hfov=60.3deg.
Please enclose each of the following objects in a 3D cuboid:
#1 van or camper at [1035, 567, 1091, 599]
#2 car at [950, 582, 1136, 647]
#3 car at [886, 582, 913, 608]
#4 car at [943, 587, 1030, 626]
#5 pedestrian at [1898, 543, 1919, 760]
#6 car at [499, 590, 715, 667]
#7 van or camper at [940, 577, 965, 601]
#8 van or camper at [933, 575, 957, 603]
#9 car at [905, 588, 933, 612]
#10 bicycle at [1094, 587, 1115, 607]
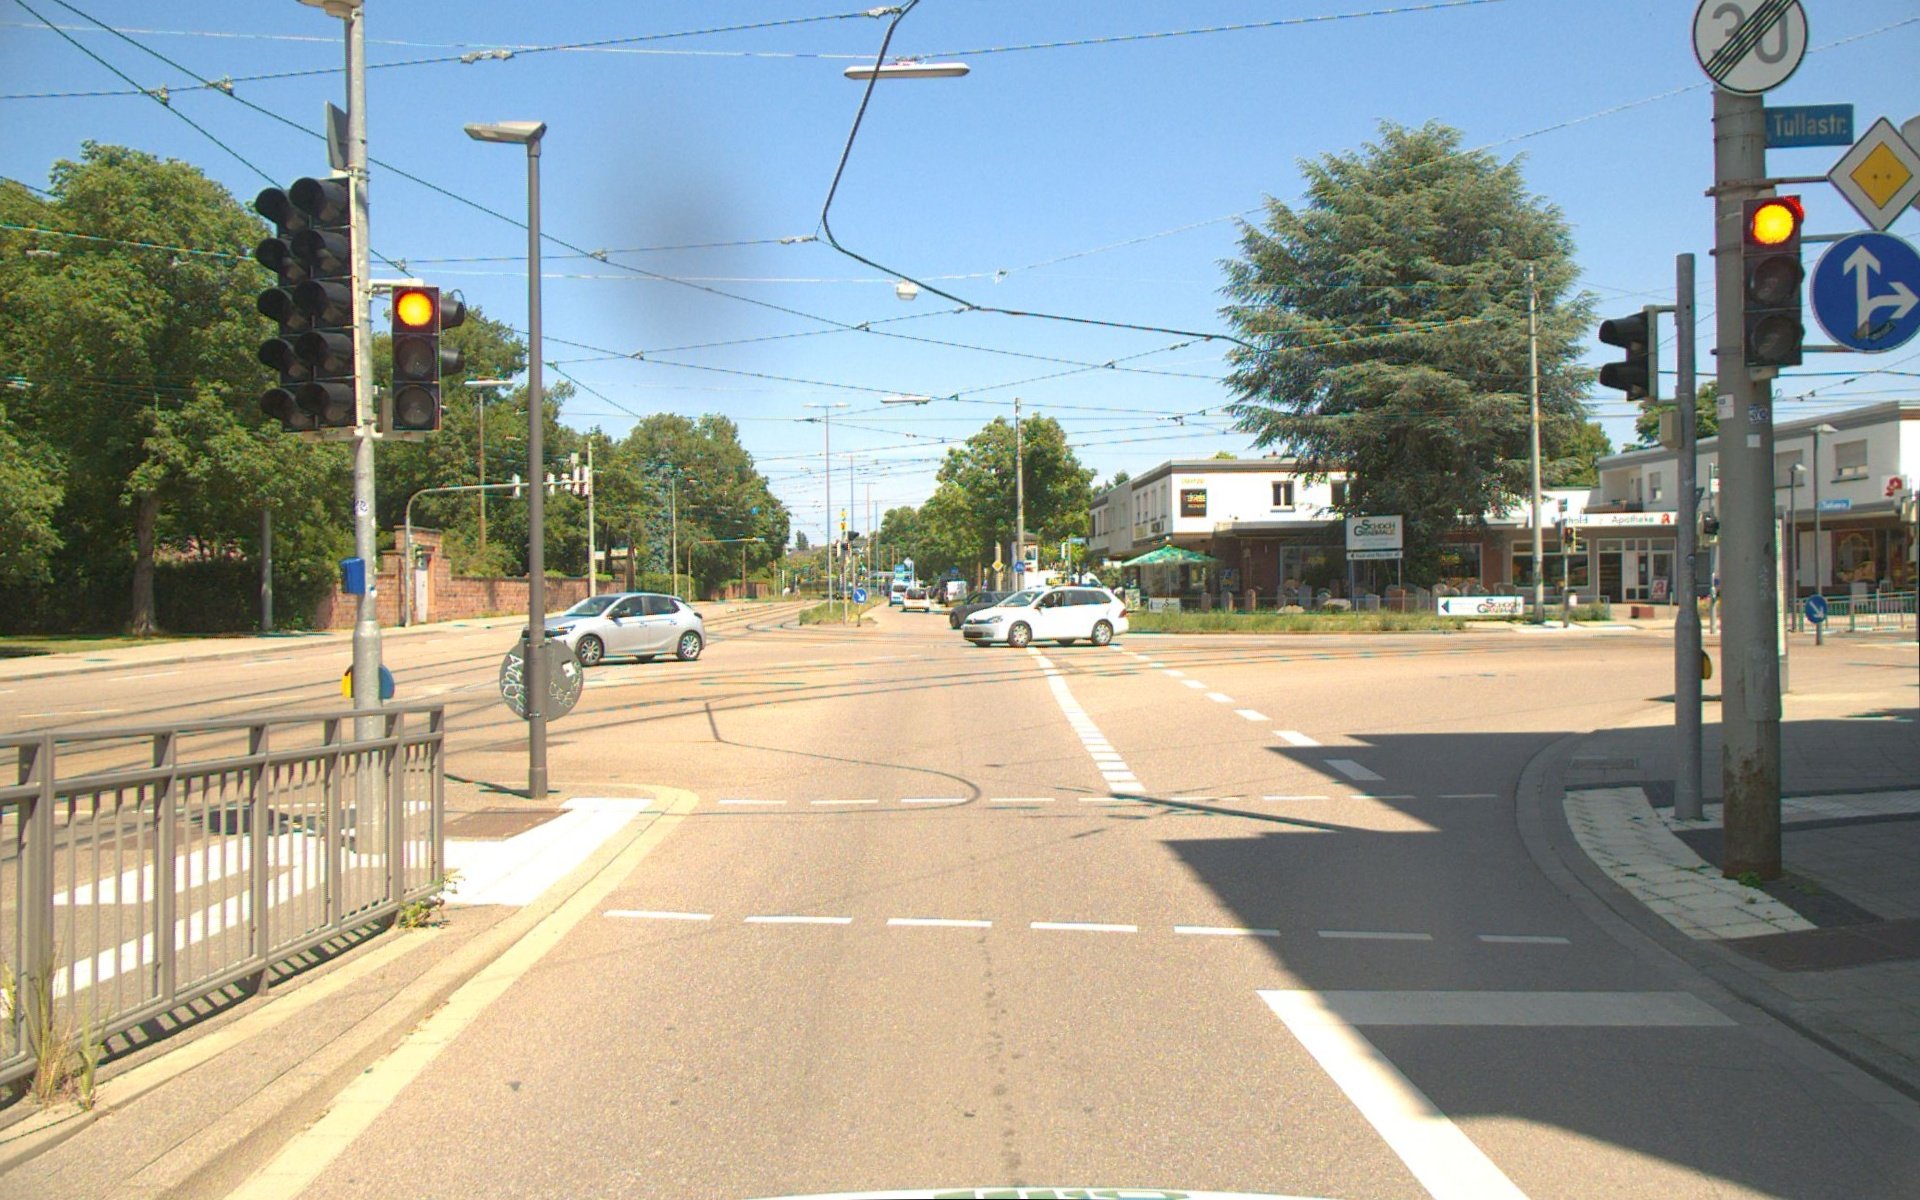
[{"bbox_3d":[8.925,-1.450,143.377,4.662,2.717,2.134,-1,0,-3],"label":"van or camper"},{"bbox_3d":[2.083,0.325,41.168,4.443,1.516,1.803,-1,0,-34],"label":"car"},{"bbox_3d":[-4.601,-0.394,125.613,1.954,1.892,3.997,-1,0,-3],"label":"car"},{"bbox_3d":[0.950,0.236,61.208,1.617,1.375,3.808,-1,0,-27],"label":"car"},{"bbox_3d":[7.487,0.358,11.995,0.809,1.611,0.827,-4,0,5],"label":"pedestrian"},{"bbox_3d":[-7.177,0.561,33.881,1.792,1.386,4.027,-2,0,42],"label":"car"},{"bbox_3d":[-0.585,-0.885,130.345,1.883,1.803,3.999,-1,0,-1],"label":"van or camper"},{"bbox_3d":[-1.407,-1.011,152.800,1.954,2.507,3.997,-1,0,-4],"label":"van or camper"},{"bbox_3d":[-2.533,0.001,101.929,1.636,1.460,3.474,-1,0,-1],"label":"car"},{"bbox_3d":[7.406,-0.159,84.585,1.012,1.032,2.639,-1,0,5],"label":"bicycle"}]
